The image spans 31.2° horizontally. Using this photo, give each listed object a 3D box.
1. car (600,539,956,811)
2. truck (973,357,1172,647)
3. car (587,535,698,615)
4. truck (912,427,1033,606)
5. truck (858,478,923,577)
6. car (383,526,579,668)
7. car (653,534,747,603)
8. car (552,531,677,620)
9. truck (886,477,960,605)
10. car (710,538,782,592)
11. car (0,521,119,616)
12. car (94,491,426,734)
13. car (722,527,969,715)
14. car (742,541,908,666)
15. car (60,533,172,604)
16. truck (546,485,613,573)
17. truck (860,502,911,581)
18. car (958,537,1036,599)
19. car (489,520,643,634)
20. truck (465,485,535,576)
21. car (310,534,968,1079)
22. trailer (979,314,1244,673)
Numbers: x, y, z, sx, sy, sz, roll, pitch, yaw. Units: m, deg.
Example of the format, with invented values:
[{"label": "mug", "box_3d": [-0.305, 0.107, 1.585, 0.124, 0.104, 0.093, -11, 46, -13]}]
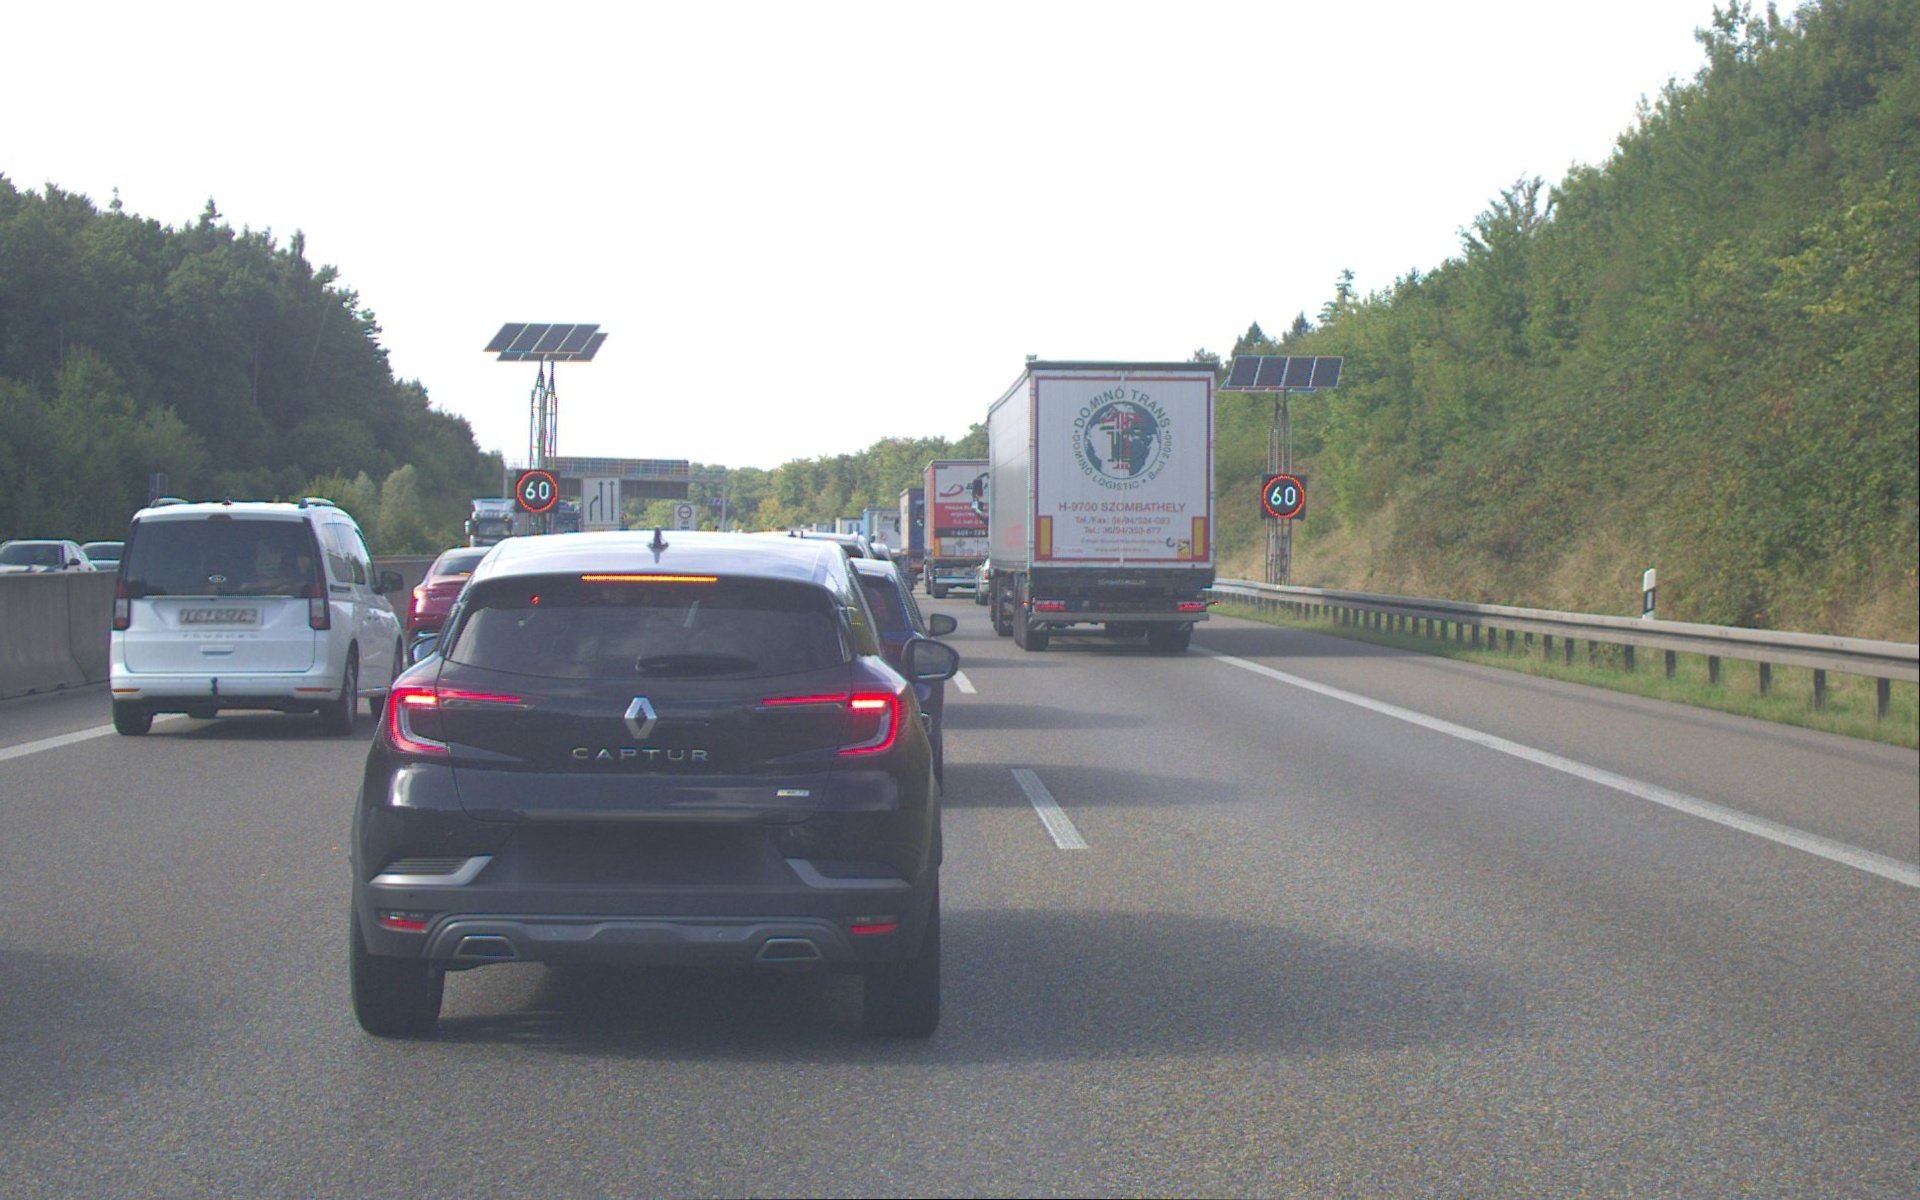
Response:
[{"label": "car", "box_3d": [-1.053, 0.408, 21.431, 1.993, 1.509, 4.000, 1, 0, -1]}, {"label": "truck", "box_3d": [1.830, -1.633, 58.484, 2.997, 4.651, 5.940, 0, 1, -1]}, {"label": "car", "box_3d": [-6.679, -0.527, 72.583, 1.993, 1.607, 4.000, 1, 0, -1]}, {"label": "truck", "box_3d": [0.316, -2.422, 103.945, 3.365, 5.027, 12.738, 1, 0, 0]}, {"label": "truck", "box_3d": [-3.932, -4.083, 197.814, 3.166, 5.486, 12.737, 1, 0, 1]}, {"label": "car", "box_3d": [-5.837, -0.051, 42.308, 1.855, 1.635, 3.926, 1, 0, 0]}, {"label": "car", "box_3d": [-6.273, -0.774, 83.284, 1.993, 1.607, 4.000, 1, 1, -1]}, {"label": "car", "box_3d": [-6.495, -0.462, 65.050, 1.993, 1.607, 4.000, 1, 0, -1]}, {"label": "truck", "box_3d": [-1.655, -2.620, 155.949, 3.166, 5.486, 12.738, 1, 0, 0]}, {"label": "car", "box_3d": [-6.618, -1.106, 106.671, 1.993, 1.607, 4.000, 1, 1, -1]}, {"label": "car", "box_3d": [-18.128, -0.644, 68.027, 1.852, 1.803, 4.925, 1, 1, -1]}, {"label": "car", "box_3d": [-5.546, 0.073, 27.769, 1.911, 1.783, 4.418, 1, 0, -2]}, {"label": "car", "box_3d": [-0.958, 0.151, 30.056, 1.993, 1.509, 4.000, 1, 0, -1]}, {"label": "car", "box_3d": [-1.677, 0.025, 43.983, 1.993, 1.509, 4.000, 1, 0, -1]}, {"label": "car", "box_3d": [-22.304, -0.853, 90.983, 1.852, 1.803, 4.925, 1, 1, -1]}, {"label": "truck", "box_3d": [-21.769, -4.049, 197.180, 2.890, 4.917, 10.081, 1, 1, -1]}, {"label": "truck", "box_3d": [-5.010, -3.926, 232.373, 3.166, 5.142, 12.738, 1, 0, 0]}, {"label": "car", "box_3d": [0.934, -0.830, 88.630, 1.804, 1.527, 3.926, 1, 0, -2]}, {"label": "car", "box_3d": [-6.197, -0.369, 54.471, 1.993, 1.716, 4.000, 1, 0, -1]}, {"label": "truck", "box_3d": [-26.691, -4.028, 199.819, 2.890, 5.075, 10.081, 1, 1, -1]}, {"label": "car", "box_3d": [-0.915, 0.561, 11.822, 1.804, 1.547, 4.000, 0, 1, 1]}, {"label": "trailer", "box_3d": [2.013, -1.508, 51.437, 3.002, 4.645, 13.291, 1, 1, -1]}]
